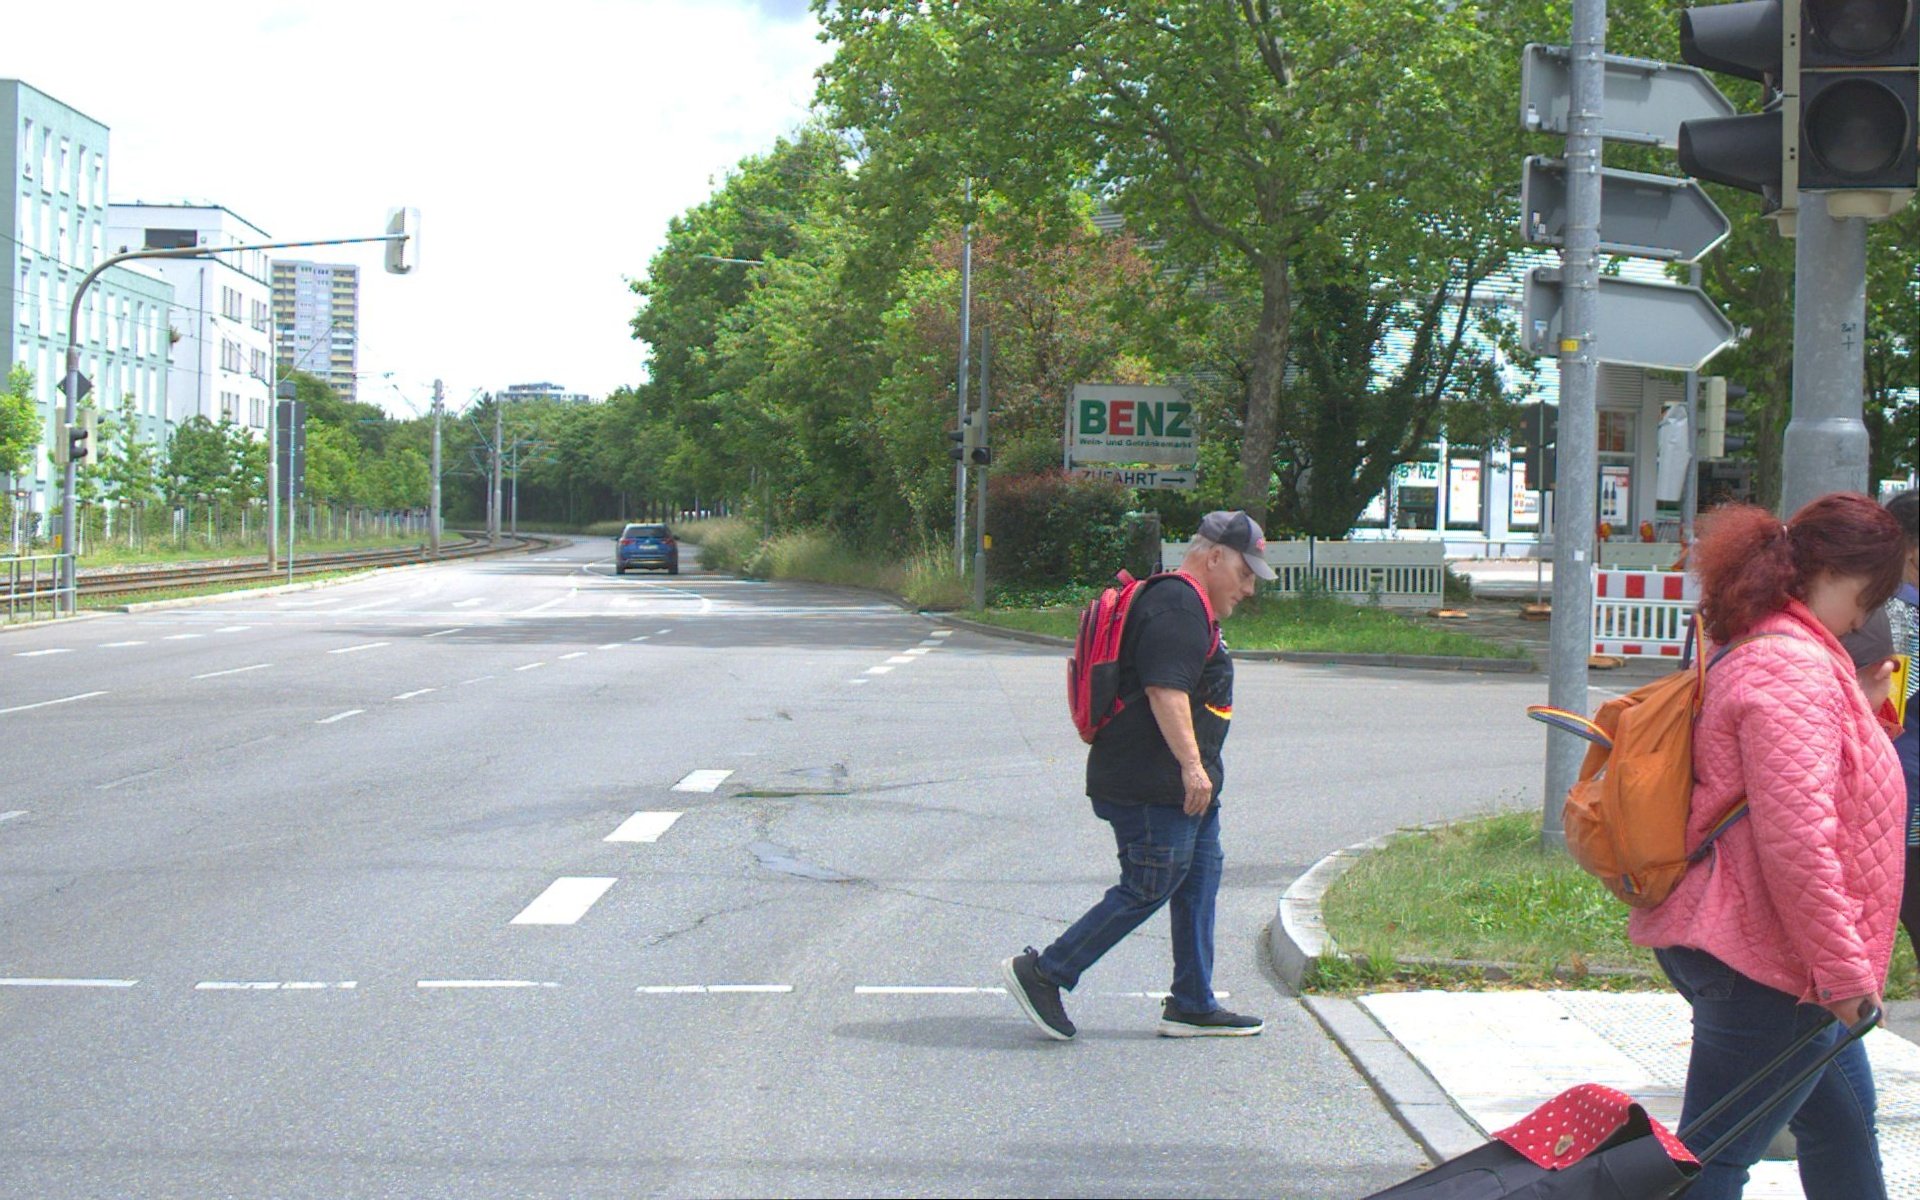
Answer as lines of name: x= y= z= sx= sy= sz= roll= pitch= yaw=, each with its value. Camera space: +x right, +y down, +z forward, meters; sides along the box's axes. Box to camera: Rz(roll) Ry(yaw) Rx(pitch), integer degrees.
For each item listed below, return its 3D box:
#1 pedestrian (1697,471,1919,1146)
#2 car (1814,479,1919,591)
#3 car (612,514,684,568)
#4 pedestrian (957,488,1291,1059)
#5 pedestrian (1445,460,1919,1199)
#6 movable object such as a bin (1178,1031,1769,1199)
pedestrian: x=2.341 y=0.489 z=8.626 sx=0.913 sy=1.601 sz=0.929 roll=1 pitch=1 yaw=11
car: x=17.744 y=-1.184 z=62.559 sx=1.993 sy=2.007 sz=4.000 roll=0 pitch=2 yaw=-32
car: x=-8.953 y=-1.698 z=98.454 sx=1.982 sy=1.481 sz=4.492 roll=0 pitch=1 yaw=-6
pedestrian: x=0.502 y=0.474 z=10.125 sx=0.893 sy=1.591 sz=0.908 roll=1 pitch=1 yaw=8
pedestrian: x=1.292 y=0.556 z=5.619 sx=0.881 sy=1.549 sz=0.746 roll=1 pitch=1 yaw=0
movable object such as a bin: x=0.761 y=1.060 z=5.341 sx=0.795 sy=0.659 sz=0.778 roll=1 pitch=1 yaw=0
